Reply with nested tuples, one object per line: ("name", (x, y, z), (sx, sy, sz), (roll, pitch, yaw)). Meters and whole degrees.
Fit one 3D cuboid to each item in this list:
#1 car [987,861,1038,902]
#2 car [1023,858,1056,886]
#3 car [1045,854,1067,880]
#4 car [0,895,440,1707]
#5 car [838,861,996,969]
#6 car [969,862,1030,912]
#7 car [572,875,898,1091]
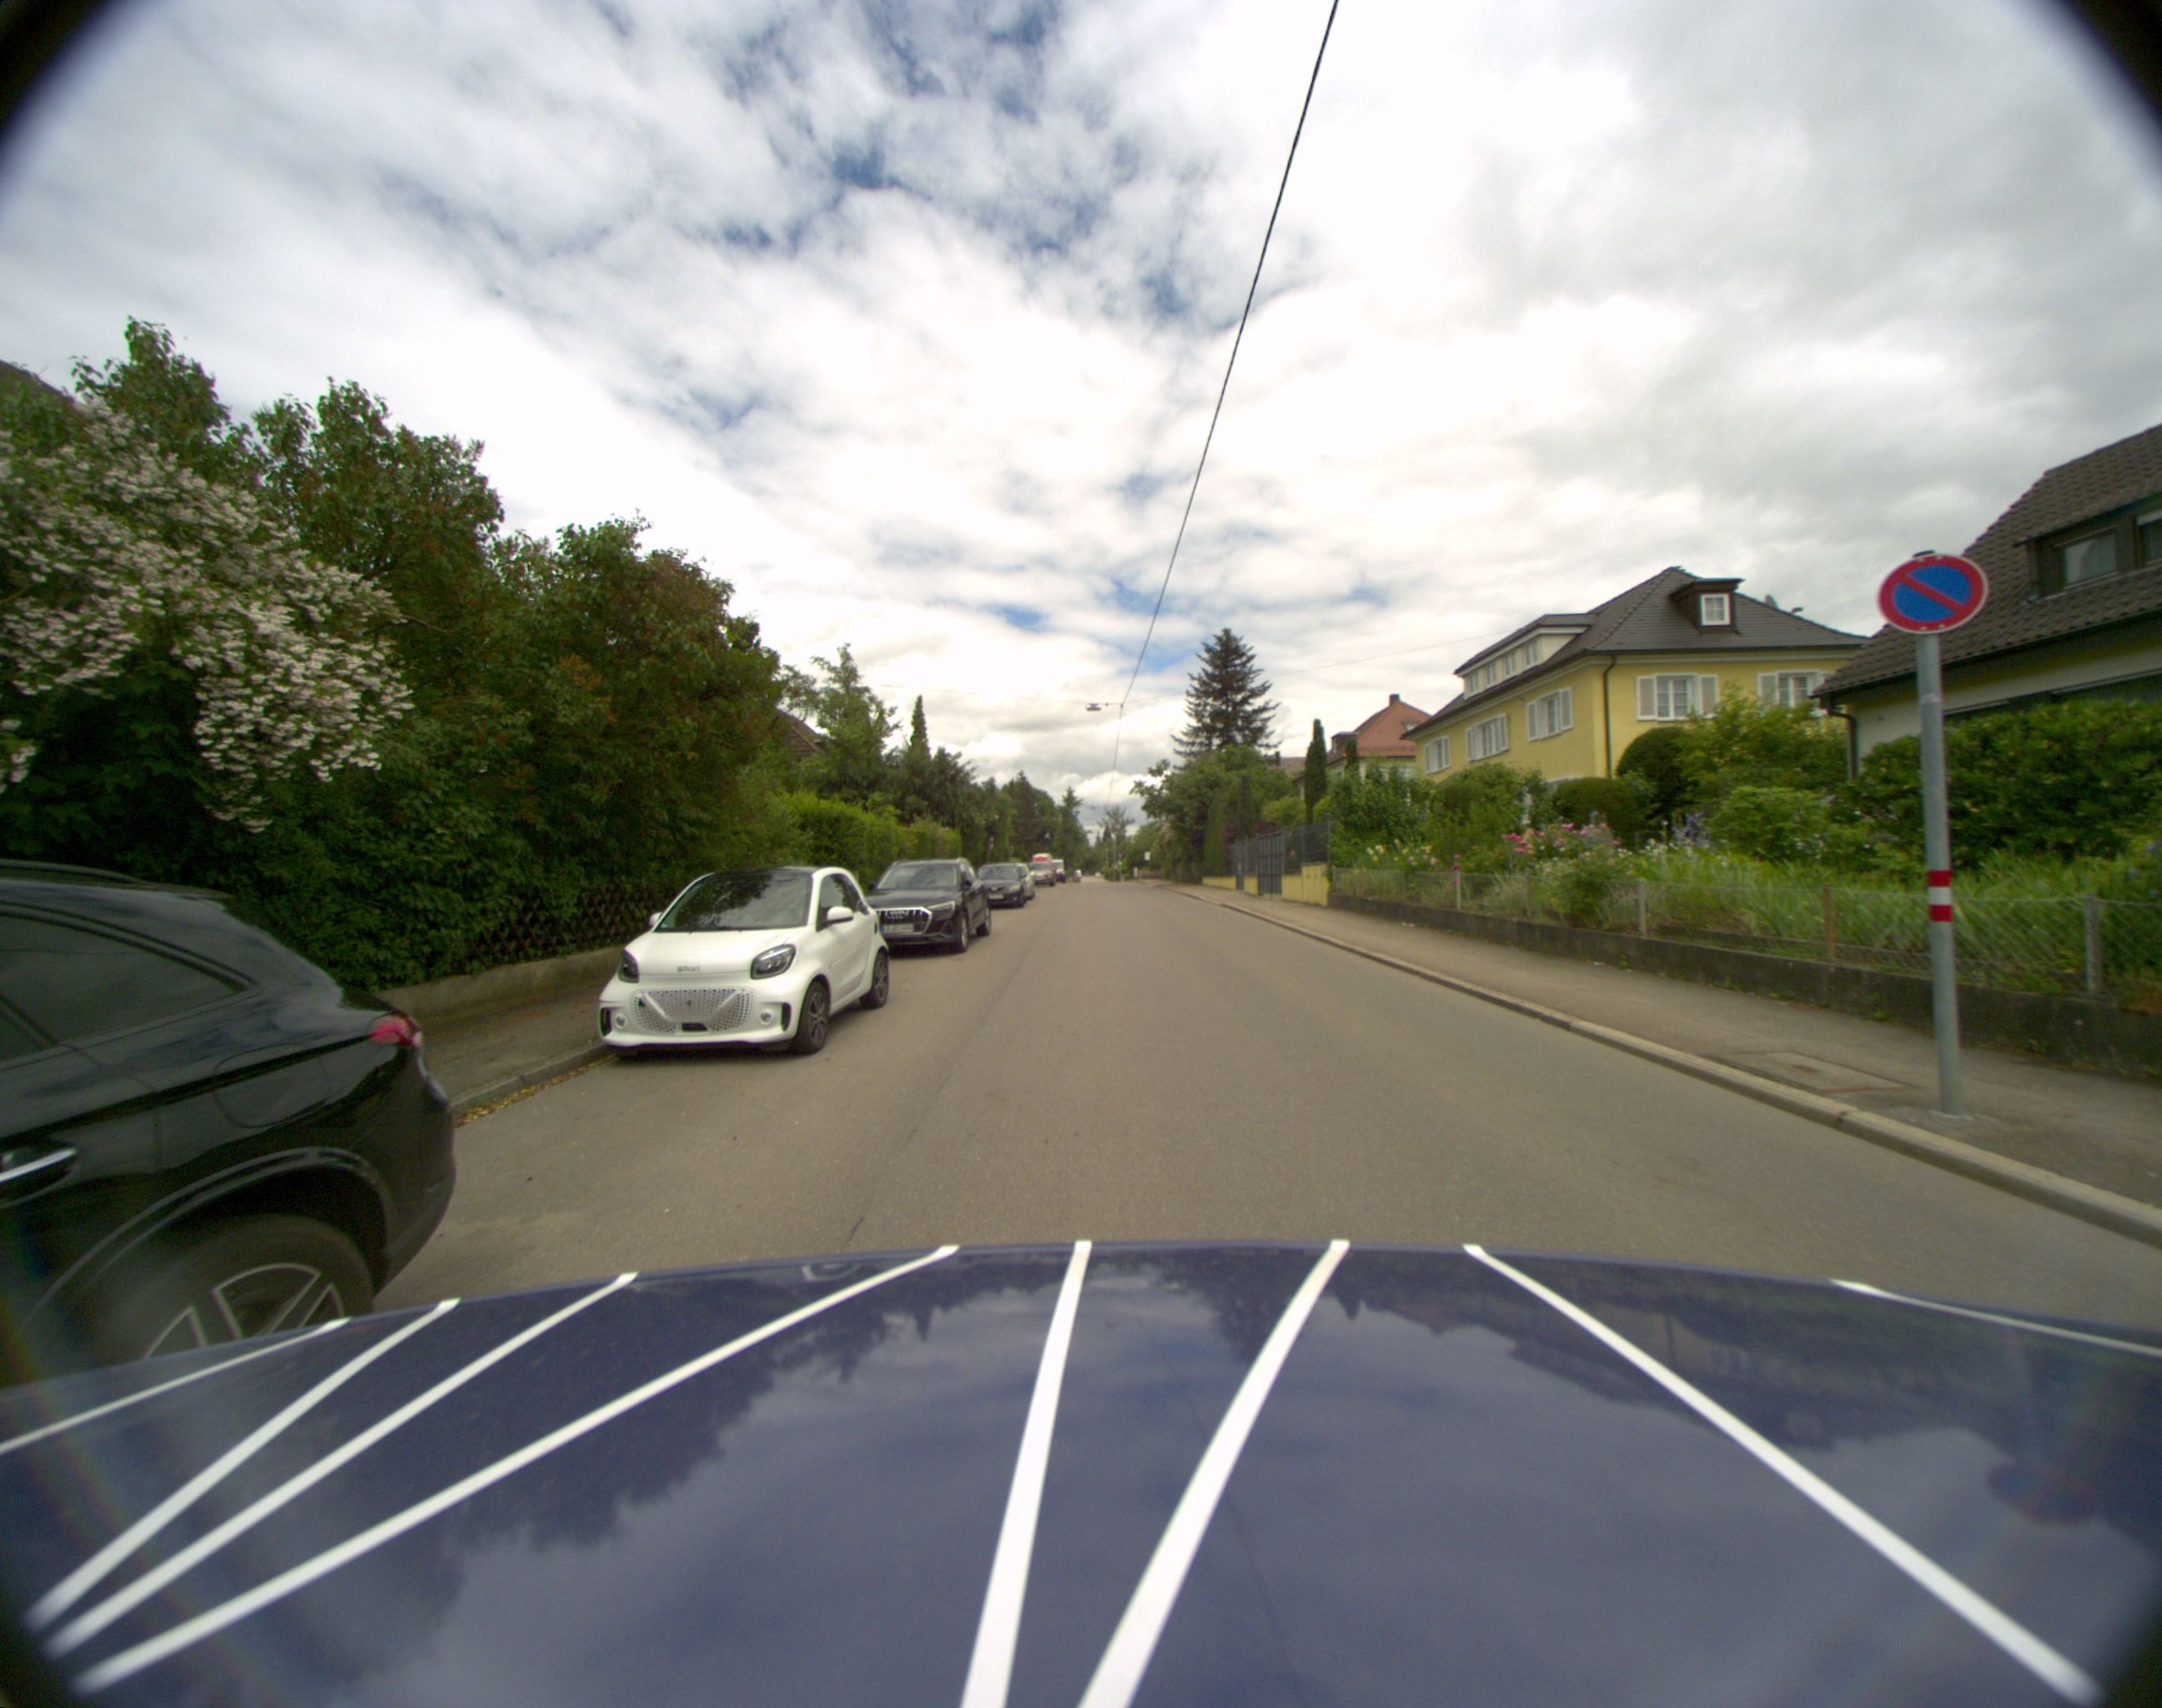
("car", (-2.689, 1.034, 30.610), (1.761, 1.468, 4.357), (-2, 0, -2))
("car", (-2.633, 1.185, 49.409), (1.878, 1.622, 4.127), (-2, -2, 0))
("car", (-2.232, 1.184, 69.798), (1.854, 2.211, 5.367), (-3, 0, -1))
("car", (-2.932, 1.001, 0.106), (1.955, 1.617, 4.375), (-3, 1, -1))
("car", (-2.780, 0.964, 13.874), (1.805, 1.582, 4.141), (-2, 0, 2))
("car", (-2.653, 1.038, 25.501), (1.721, 1.451, 4.140), (-2, 0, -2))
("car", (-2.934, 1.000, 7.147), (1.602, 1.501, 3.013), (-2, 0, 1))
